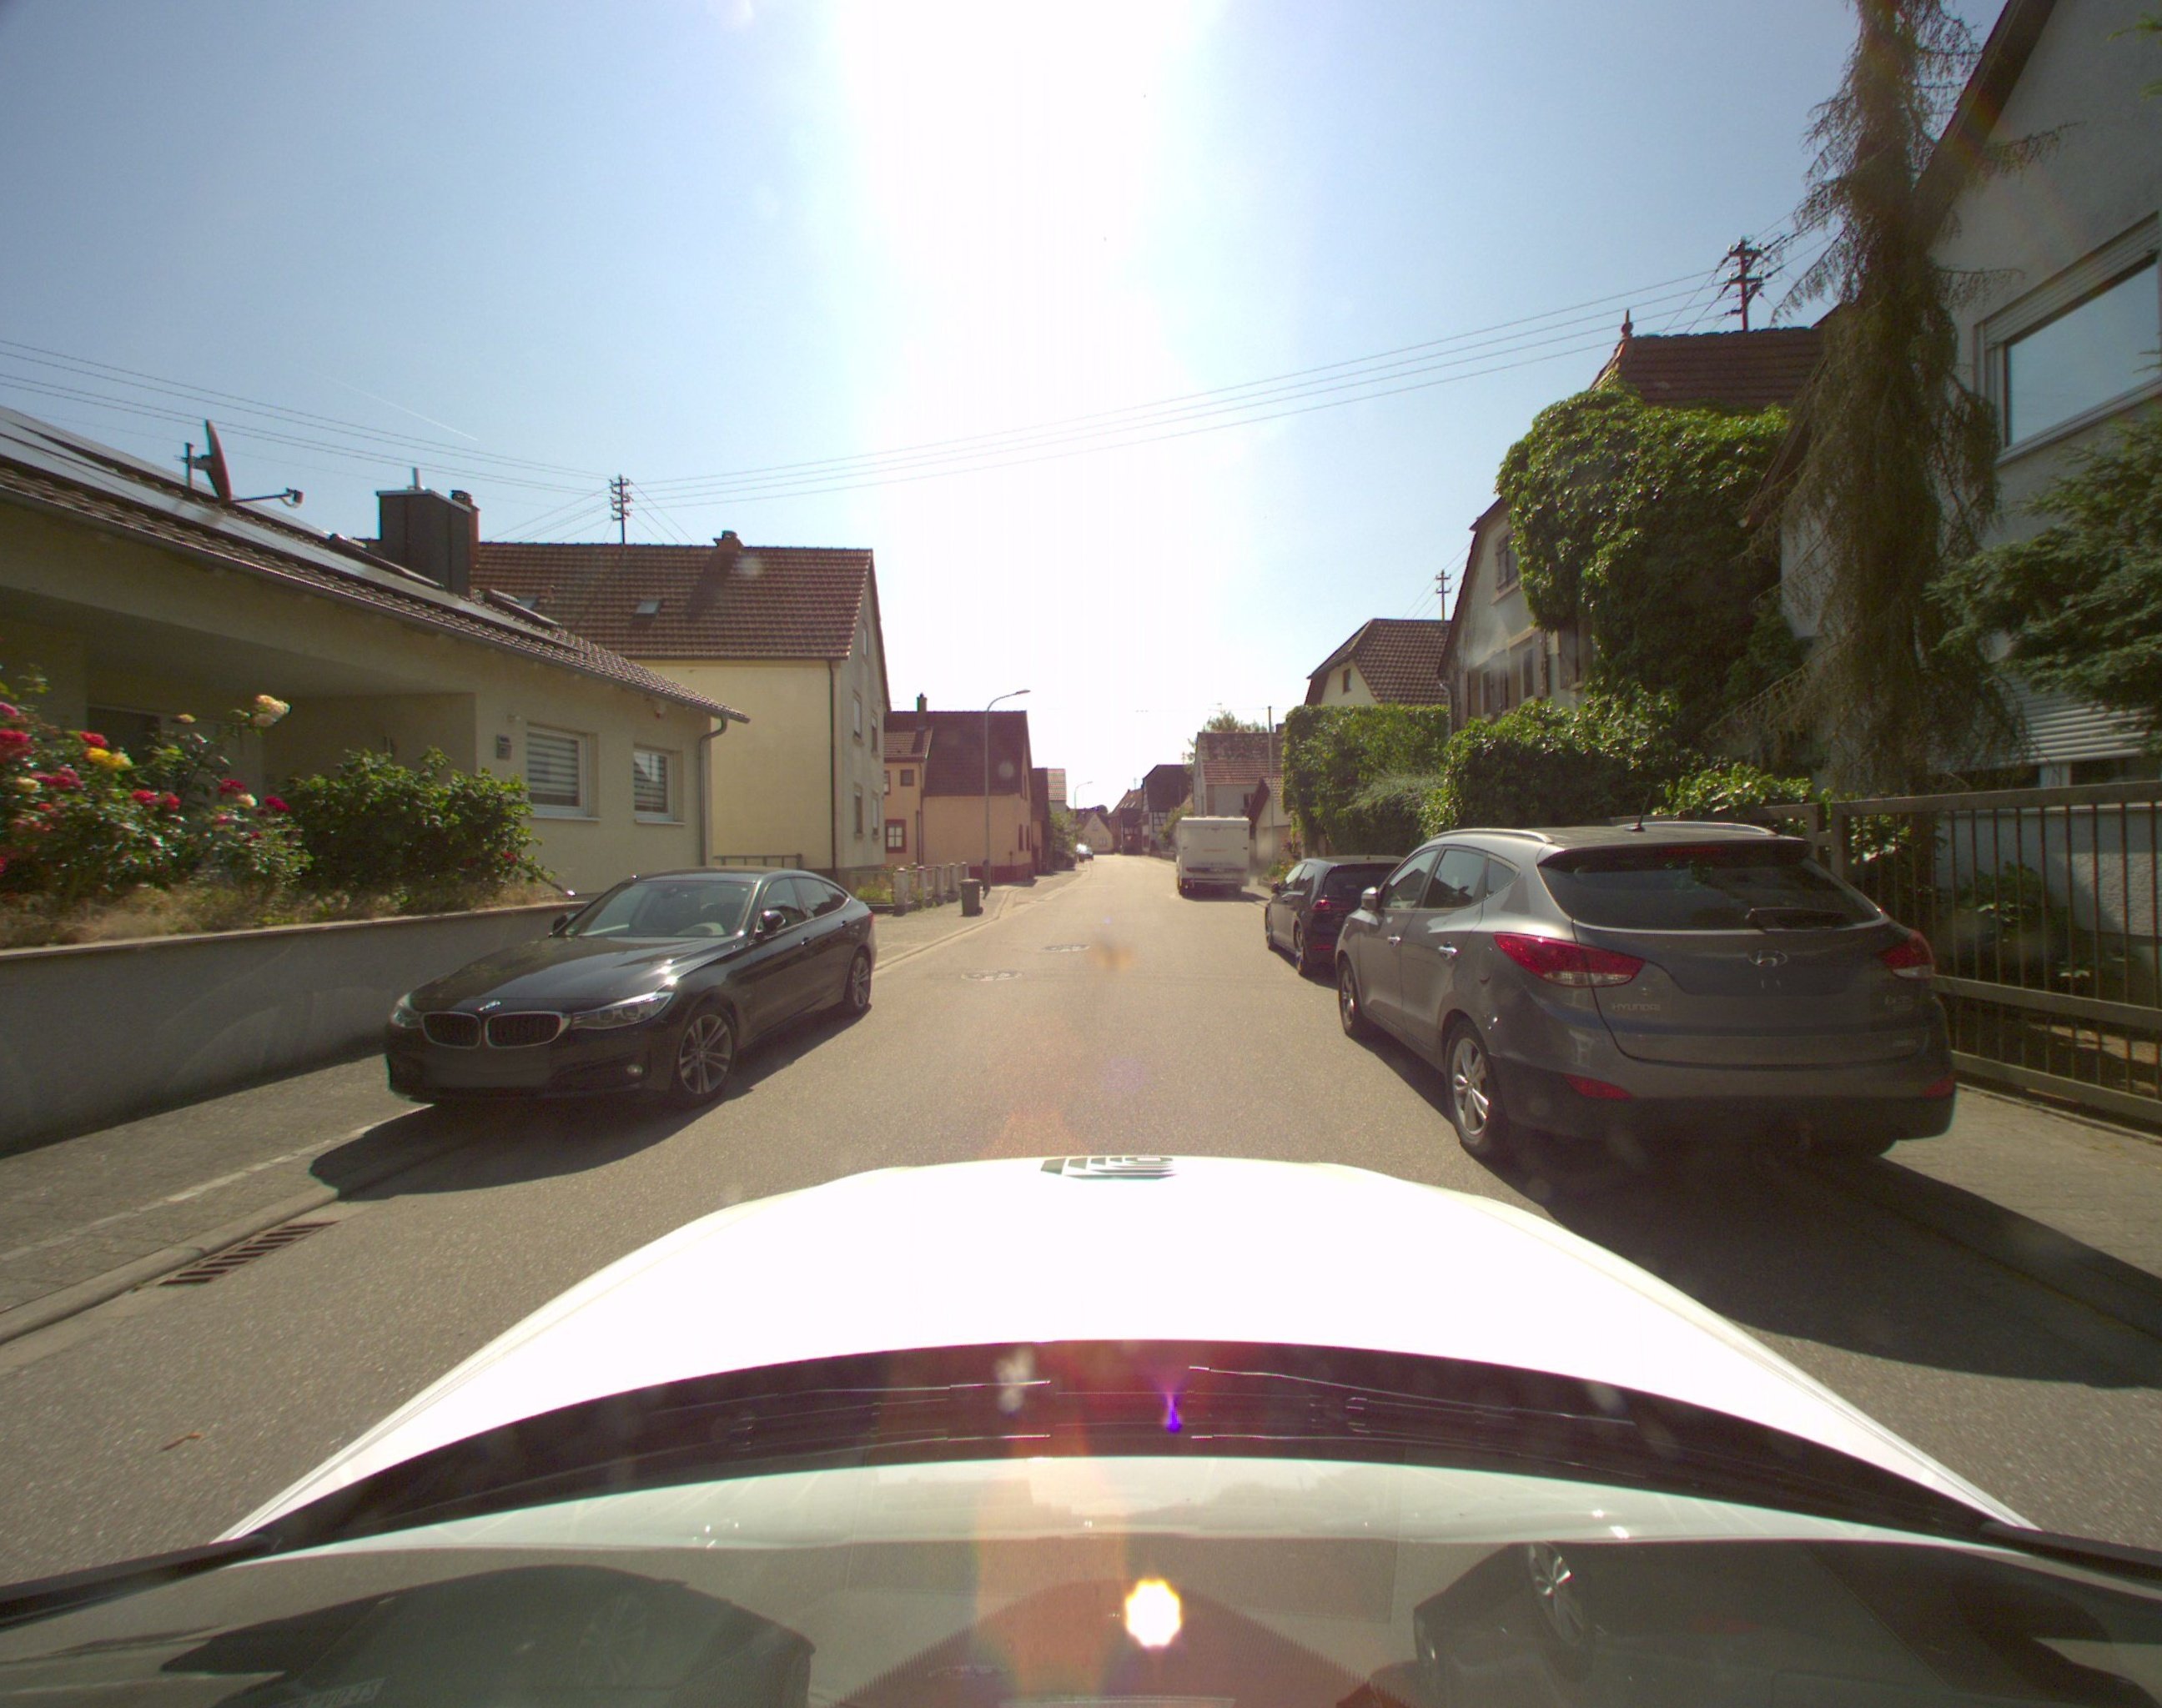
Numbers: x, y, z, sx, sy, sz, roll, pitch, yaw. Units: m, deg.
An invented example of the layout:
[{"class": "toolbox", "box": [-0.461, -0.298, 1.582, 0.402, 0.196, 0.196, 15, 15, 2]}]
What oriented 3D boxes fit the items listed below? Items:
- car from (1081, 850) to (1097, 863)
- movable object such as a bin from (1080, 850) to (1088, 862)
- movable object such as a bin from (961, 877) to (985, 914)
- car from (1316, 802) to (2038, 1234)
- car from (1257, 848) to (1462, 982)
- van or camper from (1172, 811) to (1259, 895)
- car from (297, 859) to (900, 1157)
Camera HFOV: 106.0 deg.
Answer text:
[{"class": "car", "box": [0.912, 0.274, 92.855, 1.505, 1.436, 3.515, -2, 0, 4]}, {"class": "movable object such as a bin", "box": [0.285, 0.214, 80.402, 0.685, 1.185, 0.715, -2, 0, 3]}, {"class": "movable object such as a bin", "box": [-2.892, 1.115, 21.873, 0.537, 0.949, 0.554, 0, 0, 3]}, {"class": "car", "box": [2.896, 0.618, 5.309, 1.785, 1.631, 4.367, -2, 1, 5]}, {"class": "car", "box": [3.579, 0.680, 11.231, 1.704, 1.464, 4.071, -2, 0, 5]}, {"class": "van or camper", "box": [4.666, -0.028, 28.996, 2.511, 2.697, 4.559, -1, 0, 3]}, {"class": "car", "box": [-3.123, 0.841, 6.725, 1.836, 1.526, 4.771, -1, 0, 4]}]
